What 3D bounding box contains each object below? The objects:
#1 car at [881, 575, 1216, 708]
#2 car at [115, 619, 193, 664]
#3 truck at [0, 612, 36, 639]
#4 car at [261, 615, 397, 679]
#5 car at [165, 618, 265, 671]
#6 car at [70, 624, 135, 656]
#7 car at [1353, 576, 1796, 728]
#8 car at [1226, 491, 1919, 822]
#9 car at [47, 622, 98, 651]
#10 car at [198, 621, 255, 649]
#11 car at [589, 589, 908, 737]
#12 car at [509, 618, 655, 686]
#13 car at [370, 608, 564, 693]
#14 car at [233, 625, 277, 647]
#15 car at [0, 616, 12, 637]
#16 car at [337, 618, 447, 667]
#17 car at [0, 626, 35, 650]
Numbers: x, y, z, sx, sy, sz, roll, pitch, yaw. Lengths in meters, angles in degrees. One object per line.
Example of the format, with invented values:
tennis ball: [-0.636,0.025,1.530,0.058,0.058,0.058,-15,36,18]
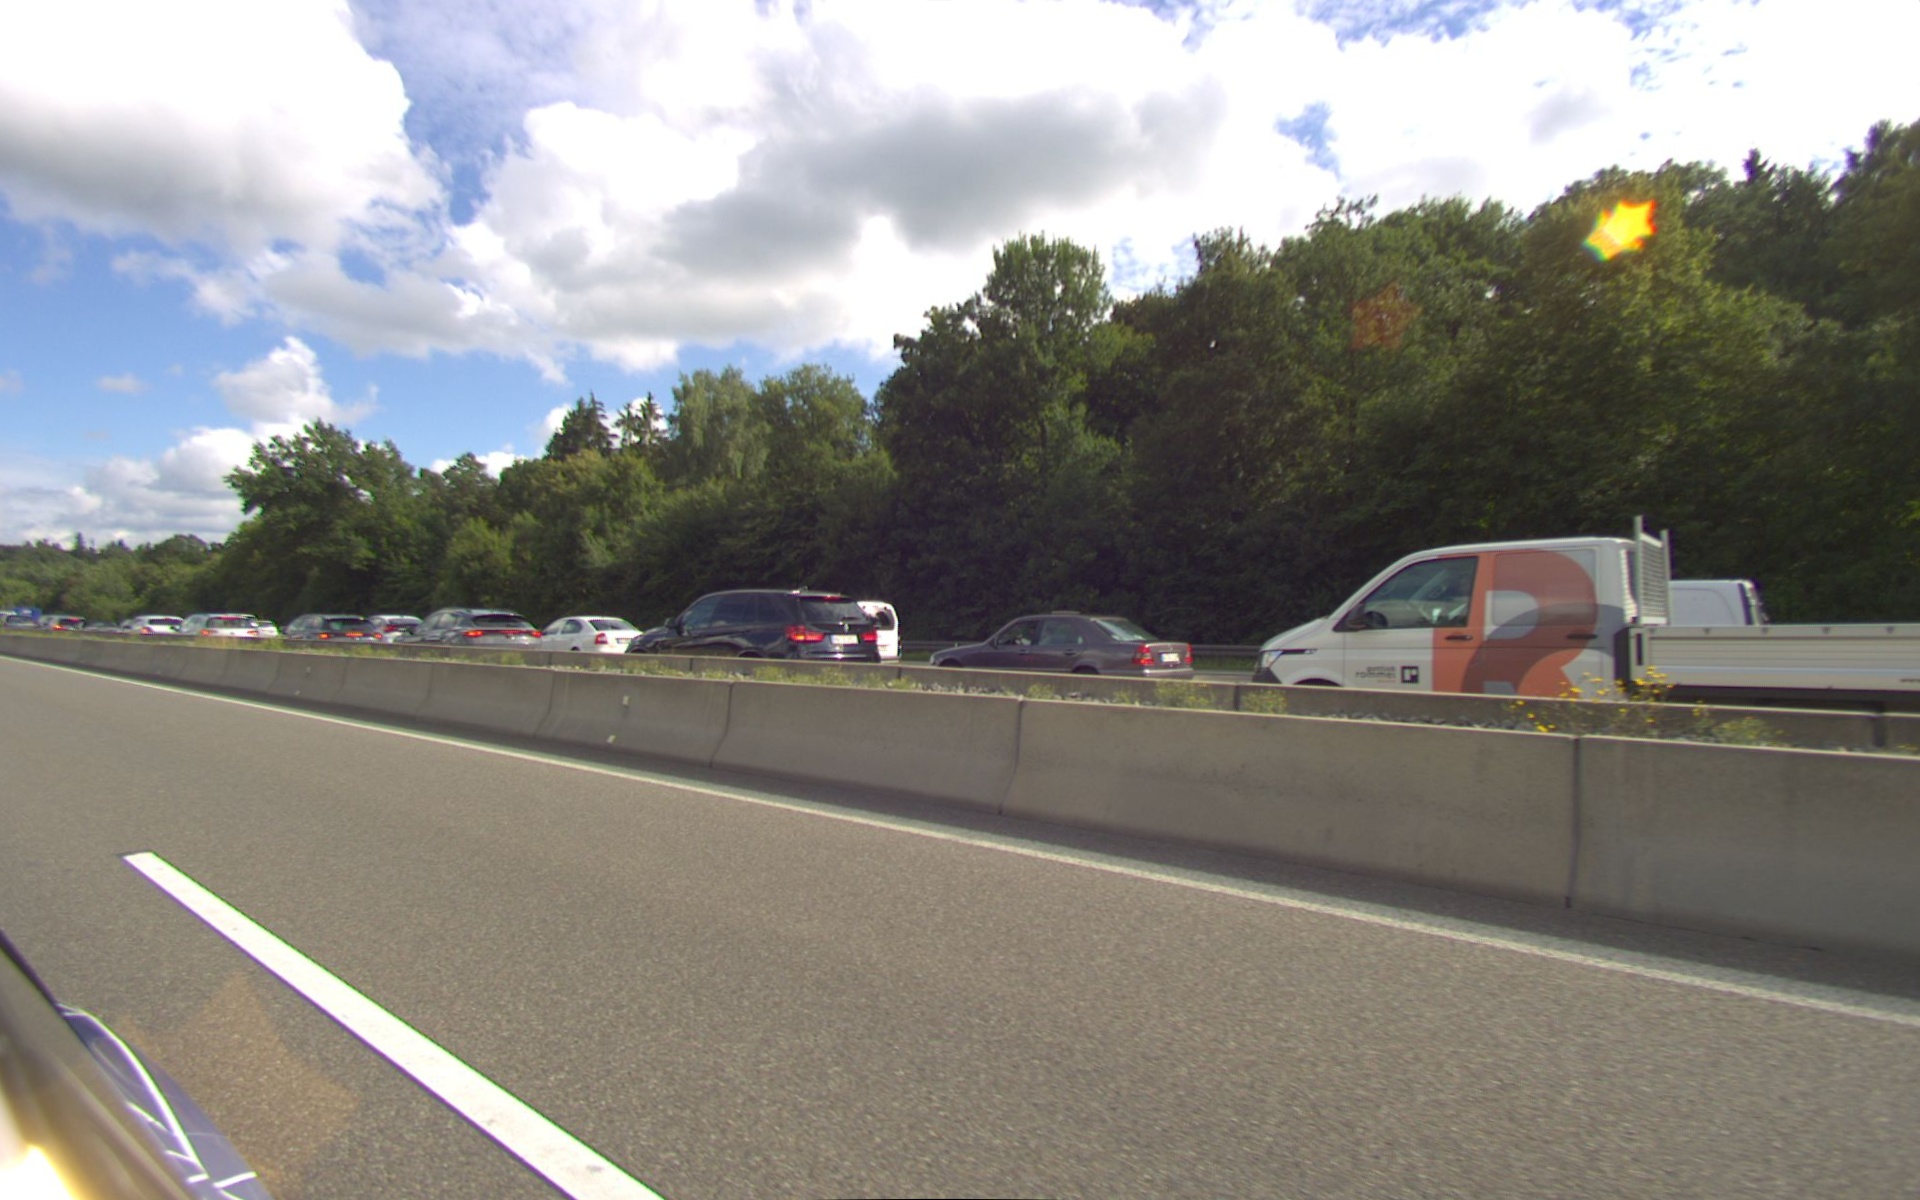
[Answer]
car: [1.300,0.653,16.653,5.257,1.853,2.148,-1,-2,41]
car: [-30.886,1.557,38.747,3.998,1.630,1.643,-1,-2,41]
truck: [-89.242,2.460,95.595,5.237,2.477,2.338,-1,-2,41]
car: [-17.547,1.265,28.061,4.548,1.630,1.973,-1,-2,41]
car: [-24.755,1.435,33.576,4.548,1.630,1.724,-1,-2,41]
car: [-43.618,2.017,51.459,3.998,1.564,1.973,-1,-2,41]
car: [8.851,0.707,14.957,5.339,1.865,1.929,-1,-2,41]
car: [5.320,0.407,8.167,5.820,2.029,2.136,-2,-3,42]
car: [-50.211,2.064,57.235,3.998,1.564,1.621,-1,-2,41]
car: [-44.840,2.107,61.809,3.998,1.630,1.963,-1,-2,41]
car: [-3.497,0.910,16.034,5.393,1.962,2.148,-1,-2,41]
car: [-10.042,1.323,26.728,4.548,1.630,1.650,-1,-2,41]
car: [-10.631,1.033,21.686,4.548,1.630,2.148,-1,-2,41]
car: [-51.989,2.657,74.585,3.998,1.564,1.757,-1,-2,41]
car: [-72.764,2.031,76.220,3.998,1.564,1.613,-1,-2,41]
car: [-19.999,1.463,35.566,4.548,1.630,1.973,-1,-2,41]
car: [-64.821,2.580,69.321,3.998,1.564,1.676,-1,-2,41]
